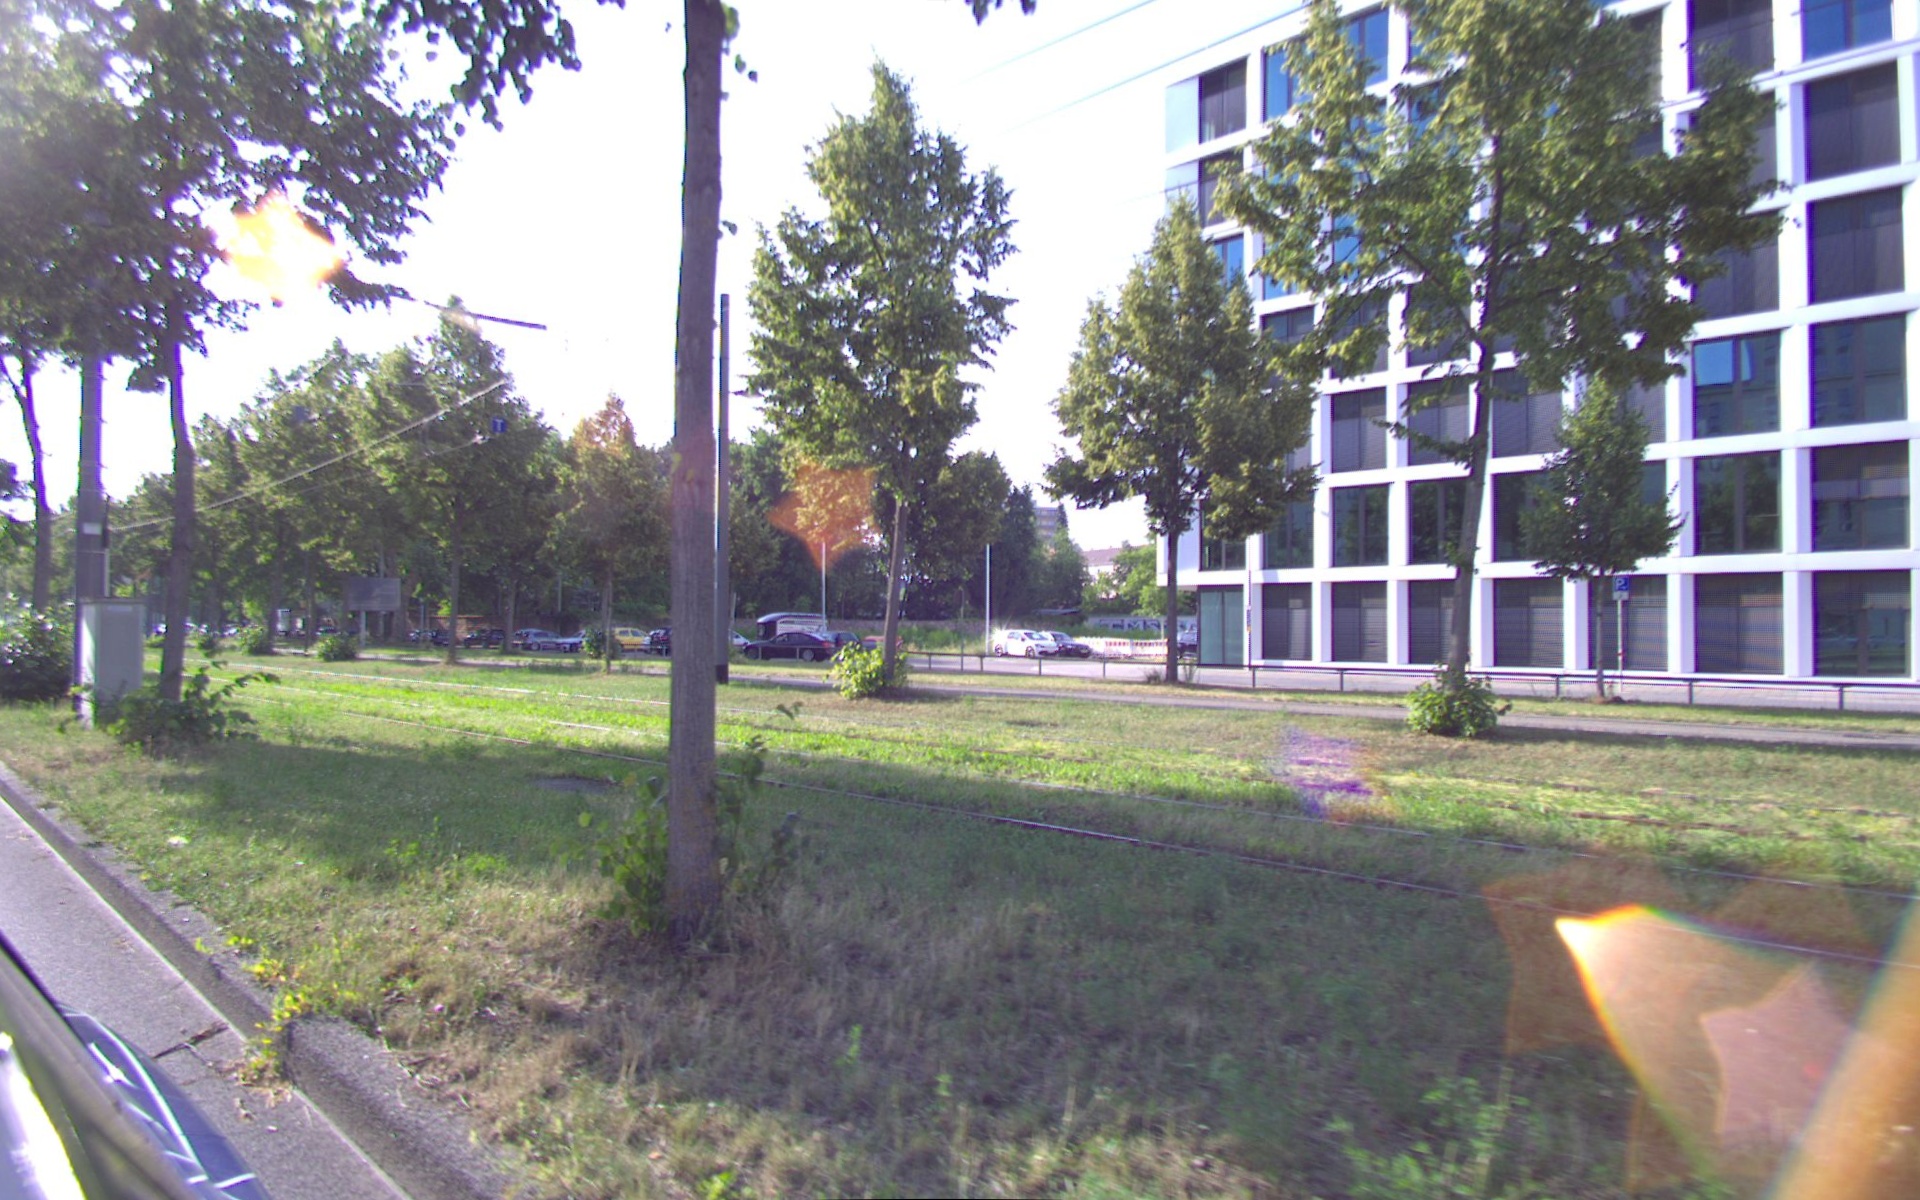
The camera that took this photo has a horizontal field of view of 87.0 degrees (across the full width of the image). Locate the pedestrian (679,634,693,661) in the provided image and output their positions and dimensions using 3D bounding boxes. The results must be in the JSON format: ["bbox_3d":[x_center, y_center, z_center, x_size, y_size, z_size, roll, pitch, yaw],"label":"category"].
[{"bbox_3d":[-15.500,2.672,57.278,0.568,1.491,0.516,-1,0,40],"label":"pedestrian"}]

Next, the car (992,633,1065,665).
[{"bbox_3d":[3.805,2.701,56.803,1.824,1.608,4.008,-1,0,-38],"label":"car"}]

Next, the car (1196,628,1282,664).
[{"bbox_3d":[14.176,2.305,51.567,1.829,1.684,4.011,-1,0,-33],"label":"car"}]

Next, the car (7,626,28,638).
[{"bbox_3d":[-116.292,3.915,124.906,3.695,1.403,1.566,-1,0,42],"label":"car"}]

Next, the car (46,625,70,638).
[{"bbox_3d":[-113.460,3.952,127.326,4.811,1.487,1.664,-1,-4,42],"label":"car"}]

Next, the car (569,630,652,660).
[{"bbox_3d":[-23.388,2.993,67.855,1.886,1.748,5.004,-1,0,43],"label":"car"}]

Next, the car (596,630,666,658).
[{"bbox_3d":[-21.406,2.844,65.915,1.856,1.572,3.943,-1,0,43],"label":"car"}]

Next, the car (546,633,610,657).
[{"bbox_3d":[-25.895,3.029,68.624,1.810,1.439,3.607,-1,0,43],"label":"car"}]

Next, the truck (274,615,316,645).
[{"bbox_3d":[-81.605,3.610,124.056,2.855,3.542,7.950,-1,0,-44],"label":"truck"}]

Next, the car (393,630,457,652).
[{"bbox_3d":[-38.172,2.931,72.253,3.997,1.446,1.680,-1,0,14],"label":"car"}]

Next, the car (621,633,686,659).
[{"bbox_3d":[-18.988,2.824,62.756,1.725,1.436,3.530,-1,0,42],"label":"car"}]

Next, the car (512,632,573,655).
[{"bbox_3d":[-30.564,3.178,74.121,3.810,1.497,1.746,-1,0,-41],"label":"car"}]

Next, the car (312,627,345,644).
[{"bbox_3d":[-66.804,3.708,107.051,4.474,1.624,1.811,-1,0,42],"label":"car"}]

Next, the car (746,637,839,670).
[{"bbox_3d":[-7.905,2.494,47.811,3.961,1.437,1.768,-1,0,14],"label":"car"}]

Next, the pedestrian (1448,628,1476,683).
[{"bbox_3d":[16.174,1.783,32.607,0.691,1.741,0.561,-1,0,41],"label":"pedestrian"}]

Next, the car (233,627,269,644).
[{"bbox_3d":[-65.542,3.218,93.483,4.474,1.442,1.811,-1,0,42],"label":"car"}]

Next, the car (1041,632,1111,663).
[{"bbox_3d":[6.627,2.706,58.194,1.662,1.569,4.009,-1,0,-37],"label":"car"}]

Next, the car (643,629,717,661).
[{"bbox_3d":[-16.625,2.645,60.265,1.757,1.655,3.950,-1,0,42],"label":"car"}]

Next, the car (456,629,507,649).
[{"bbox_3d":[-37.972,3.060,80.234,4.352,1.453,1.770,-1,0,36],"label":"car"}]

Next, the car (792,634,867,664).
[{"bbox_3d":[-6.720,2.484,51.928,3.757,1.404,1.663,-1,0,38],"label":"car"}]

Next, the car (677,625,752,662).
[{"bbox_3d":[-14.143,2.486,58.444,1.757,1.962,3.950,-1,0,42],"label":"car"}]

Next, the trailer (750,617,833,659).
[{"bbox_3d":[-9.178,2.044,55.408,1.758,2.069,4.315,-1,0,44],"label":"trailer"}]
